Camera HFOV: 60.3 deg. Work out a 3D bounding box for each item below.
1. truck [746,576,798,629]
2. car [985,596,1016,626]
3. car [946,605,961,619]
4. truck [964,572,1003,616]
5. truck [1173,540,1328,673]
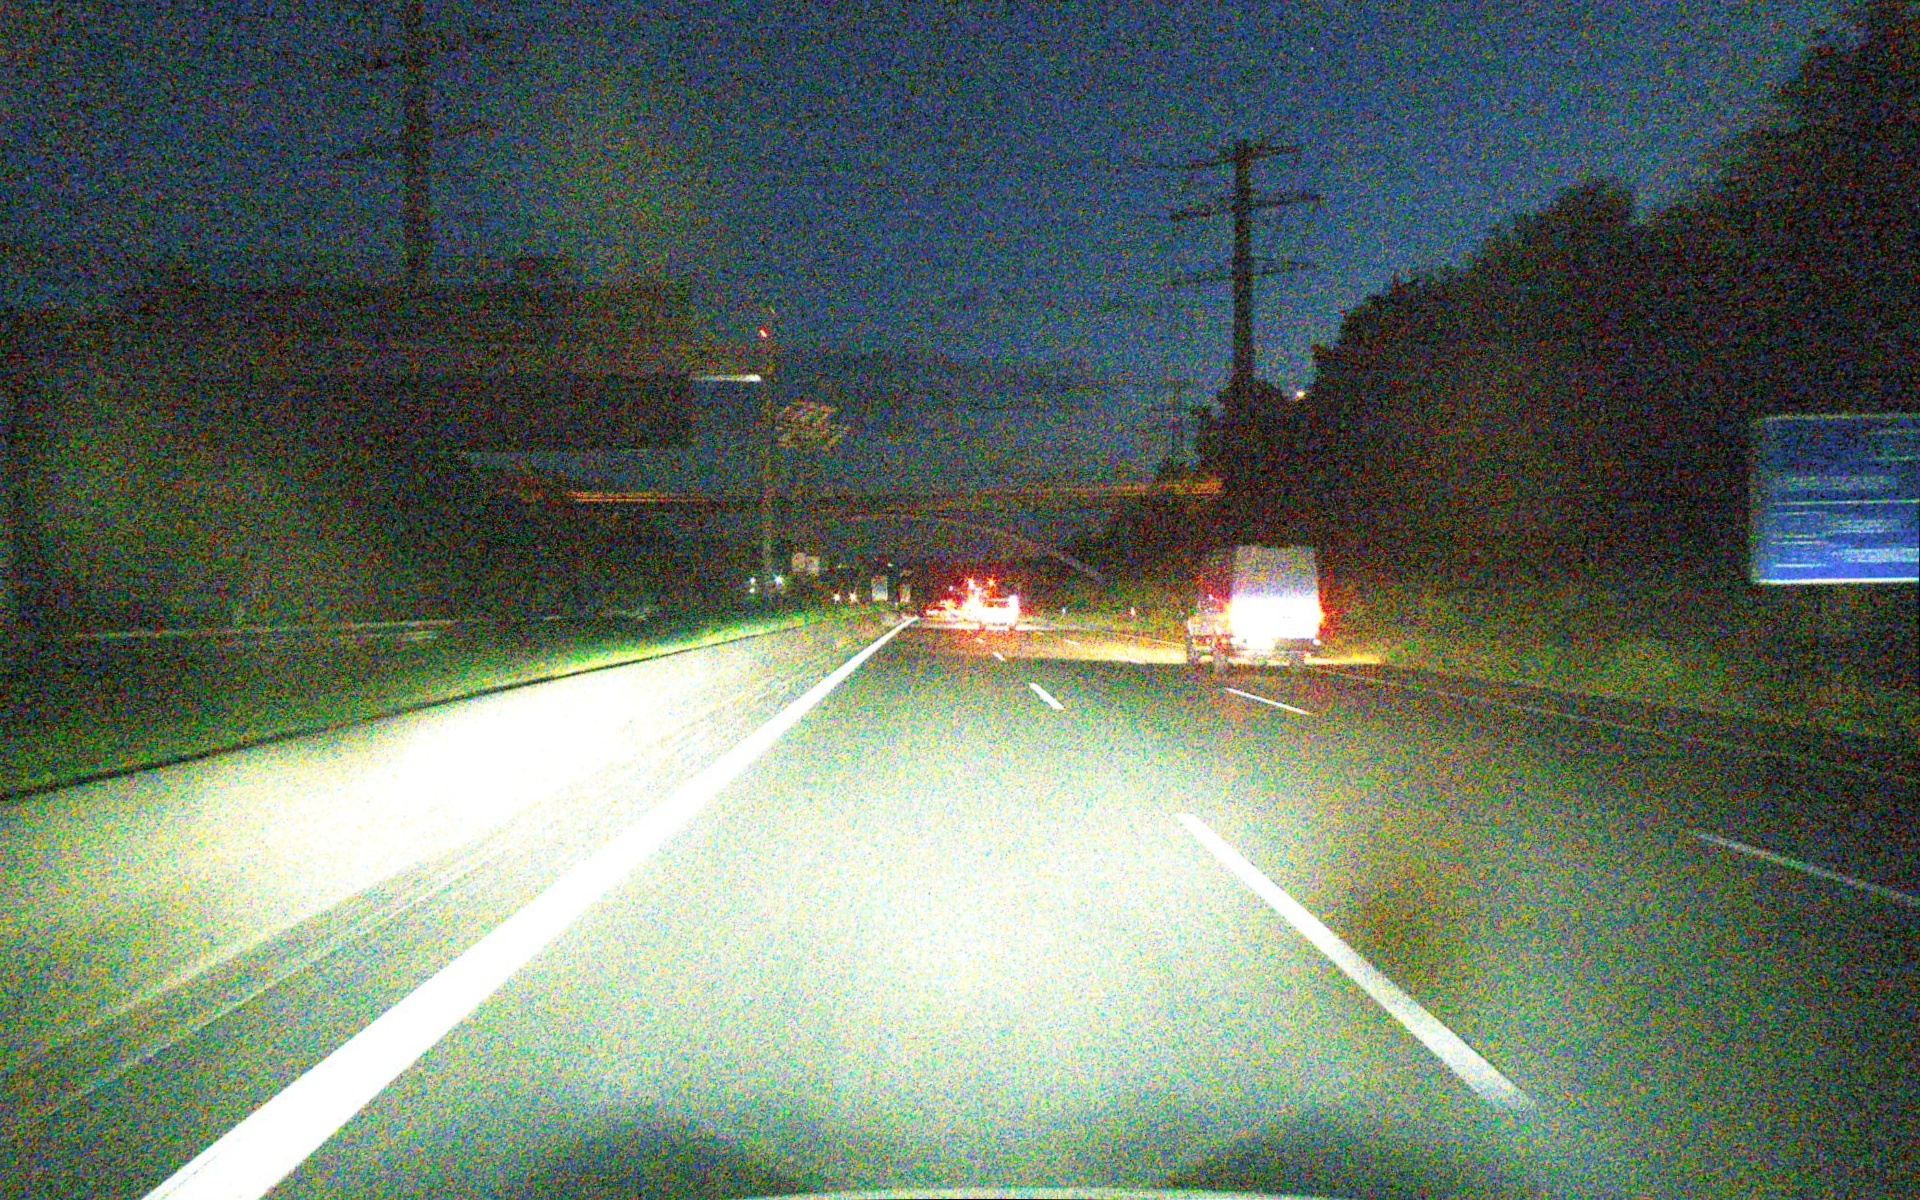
[{"bbox_3d":[-17.906,0.100,158.712,3.181,4.566,17.437,1,1,-1],"label":"truck"},{"bbox_3d":[2.096,0.529,85.295,1.319,1.411,3.500,1,1,-3],"label":"car"},{"bbox_3d":[-0.780,1.431,197.077,1.784,1.491,4.248,1,1,0],"label":"car"},{"bbox_3d":[1.909,-0.539,137.459,2.982,3.382,10.142,1,1,0],"label":"truck"},{"bbox_3d":[6.556,0.139,38.273,2.035,2.738,7.305,1,0,-2],"label":"truck"}]
